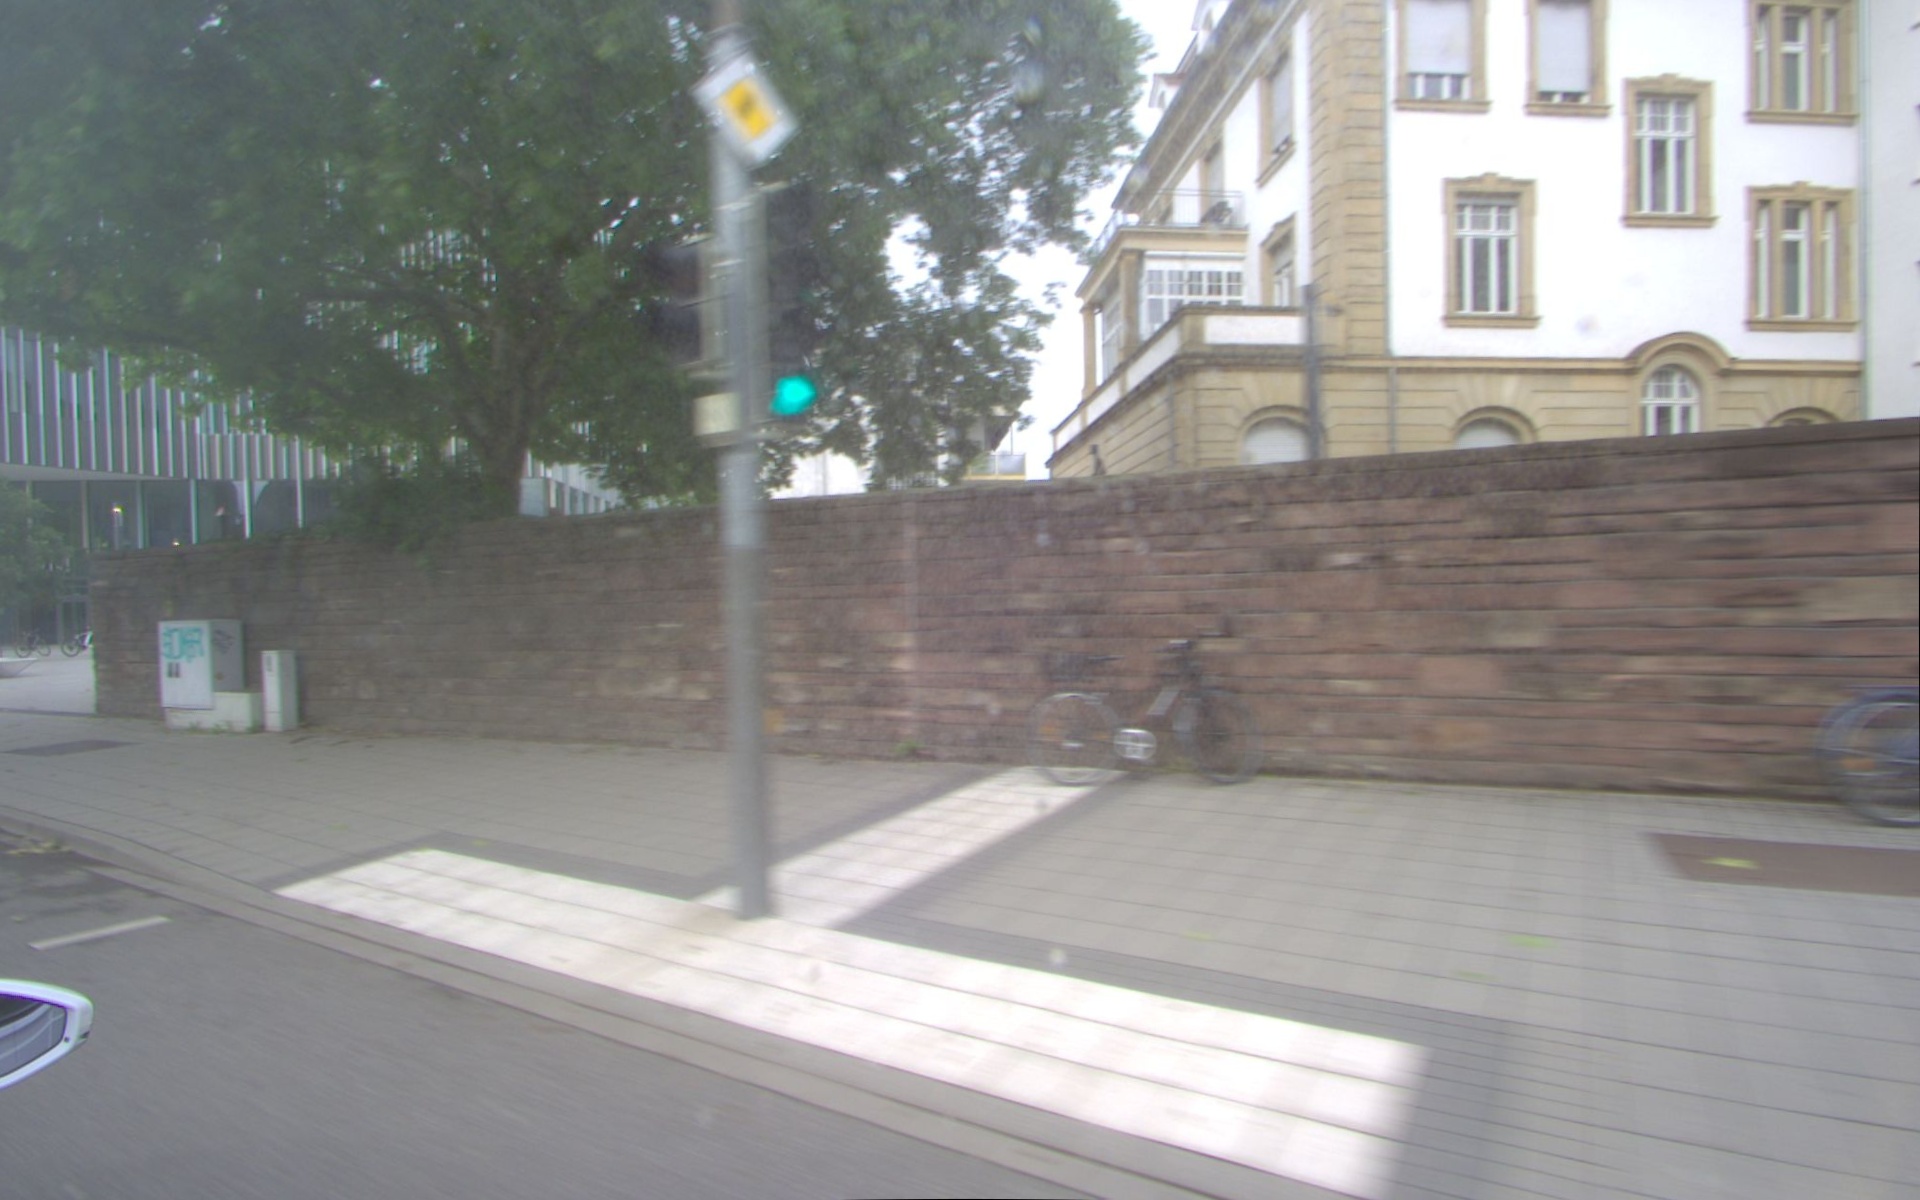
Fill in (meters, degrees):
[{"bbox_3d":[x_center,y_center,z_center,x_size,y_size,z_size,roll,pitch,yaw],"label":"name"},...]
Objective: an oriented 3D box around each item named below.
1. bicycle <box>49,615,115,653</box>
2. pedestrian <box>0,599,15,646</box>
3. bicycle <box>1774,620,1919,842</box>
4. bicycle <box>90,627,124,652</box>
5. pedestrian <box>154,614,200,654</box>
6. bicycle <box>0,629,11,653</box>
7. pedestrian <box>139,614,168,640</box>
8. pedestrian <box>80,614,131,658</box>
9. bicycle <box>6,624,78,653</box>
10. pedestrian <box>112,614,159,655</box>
[{"bbox_3d":[-34.087,1.304,38.913,0.633,1.324,2.007,0,2,7],"label":"bicycle"},{"bbox_3d":[-43.182,1.031,44.842,1.123,2.089,1.175,-1,-1,42],"label":"pedestrian"},{"bbox_3d":[5.535,0.688,5.317,1.905,1.158,0.386,0,-1,12],"label":"bicycle"},{"bbox_3d":[-33.025,1.525,38.776,0.387,0.911,1.470,-1,0,-15],"label":"bicycle"},{"bbox_3d":[-25.386,1.107,32.468,0.866,1.273,0.907,-1,-1,32],"label":"pedestrian"},{"bbox_3d":[-37.500,1.604,38.550,0.660,0.911,1.841,-1,0,-20],"label":"bicycle"},{"bbox_3d":[-26.385,0.882,32.748,0.726,0.834,0.630,-1,1,44],"label":"pedestrian"},{"bbox_3d":[-26.953,1.129,31.585,0.863,1.385,0.910,0,-1,19],"label":"pedestrian"},{"bbox_3d":[-35.500,1.459,38.751,0.766,1.019,2.191,-1,0,-1],"label":"bicycle"},{"bbox_3d":[-25.832,1.074,31.393,0.866,1.273,0.907,-1,-1,32],"label":"pedestrian"}]
